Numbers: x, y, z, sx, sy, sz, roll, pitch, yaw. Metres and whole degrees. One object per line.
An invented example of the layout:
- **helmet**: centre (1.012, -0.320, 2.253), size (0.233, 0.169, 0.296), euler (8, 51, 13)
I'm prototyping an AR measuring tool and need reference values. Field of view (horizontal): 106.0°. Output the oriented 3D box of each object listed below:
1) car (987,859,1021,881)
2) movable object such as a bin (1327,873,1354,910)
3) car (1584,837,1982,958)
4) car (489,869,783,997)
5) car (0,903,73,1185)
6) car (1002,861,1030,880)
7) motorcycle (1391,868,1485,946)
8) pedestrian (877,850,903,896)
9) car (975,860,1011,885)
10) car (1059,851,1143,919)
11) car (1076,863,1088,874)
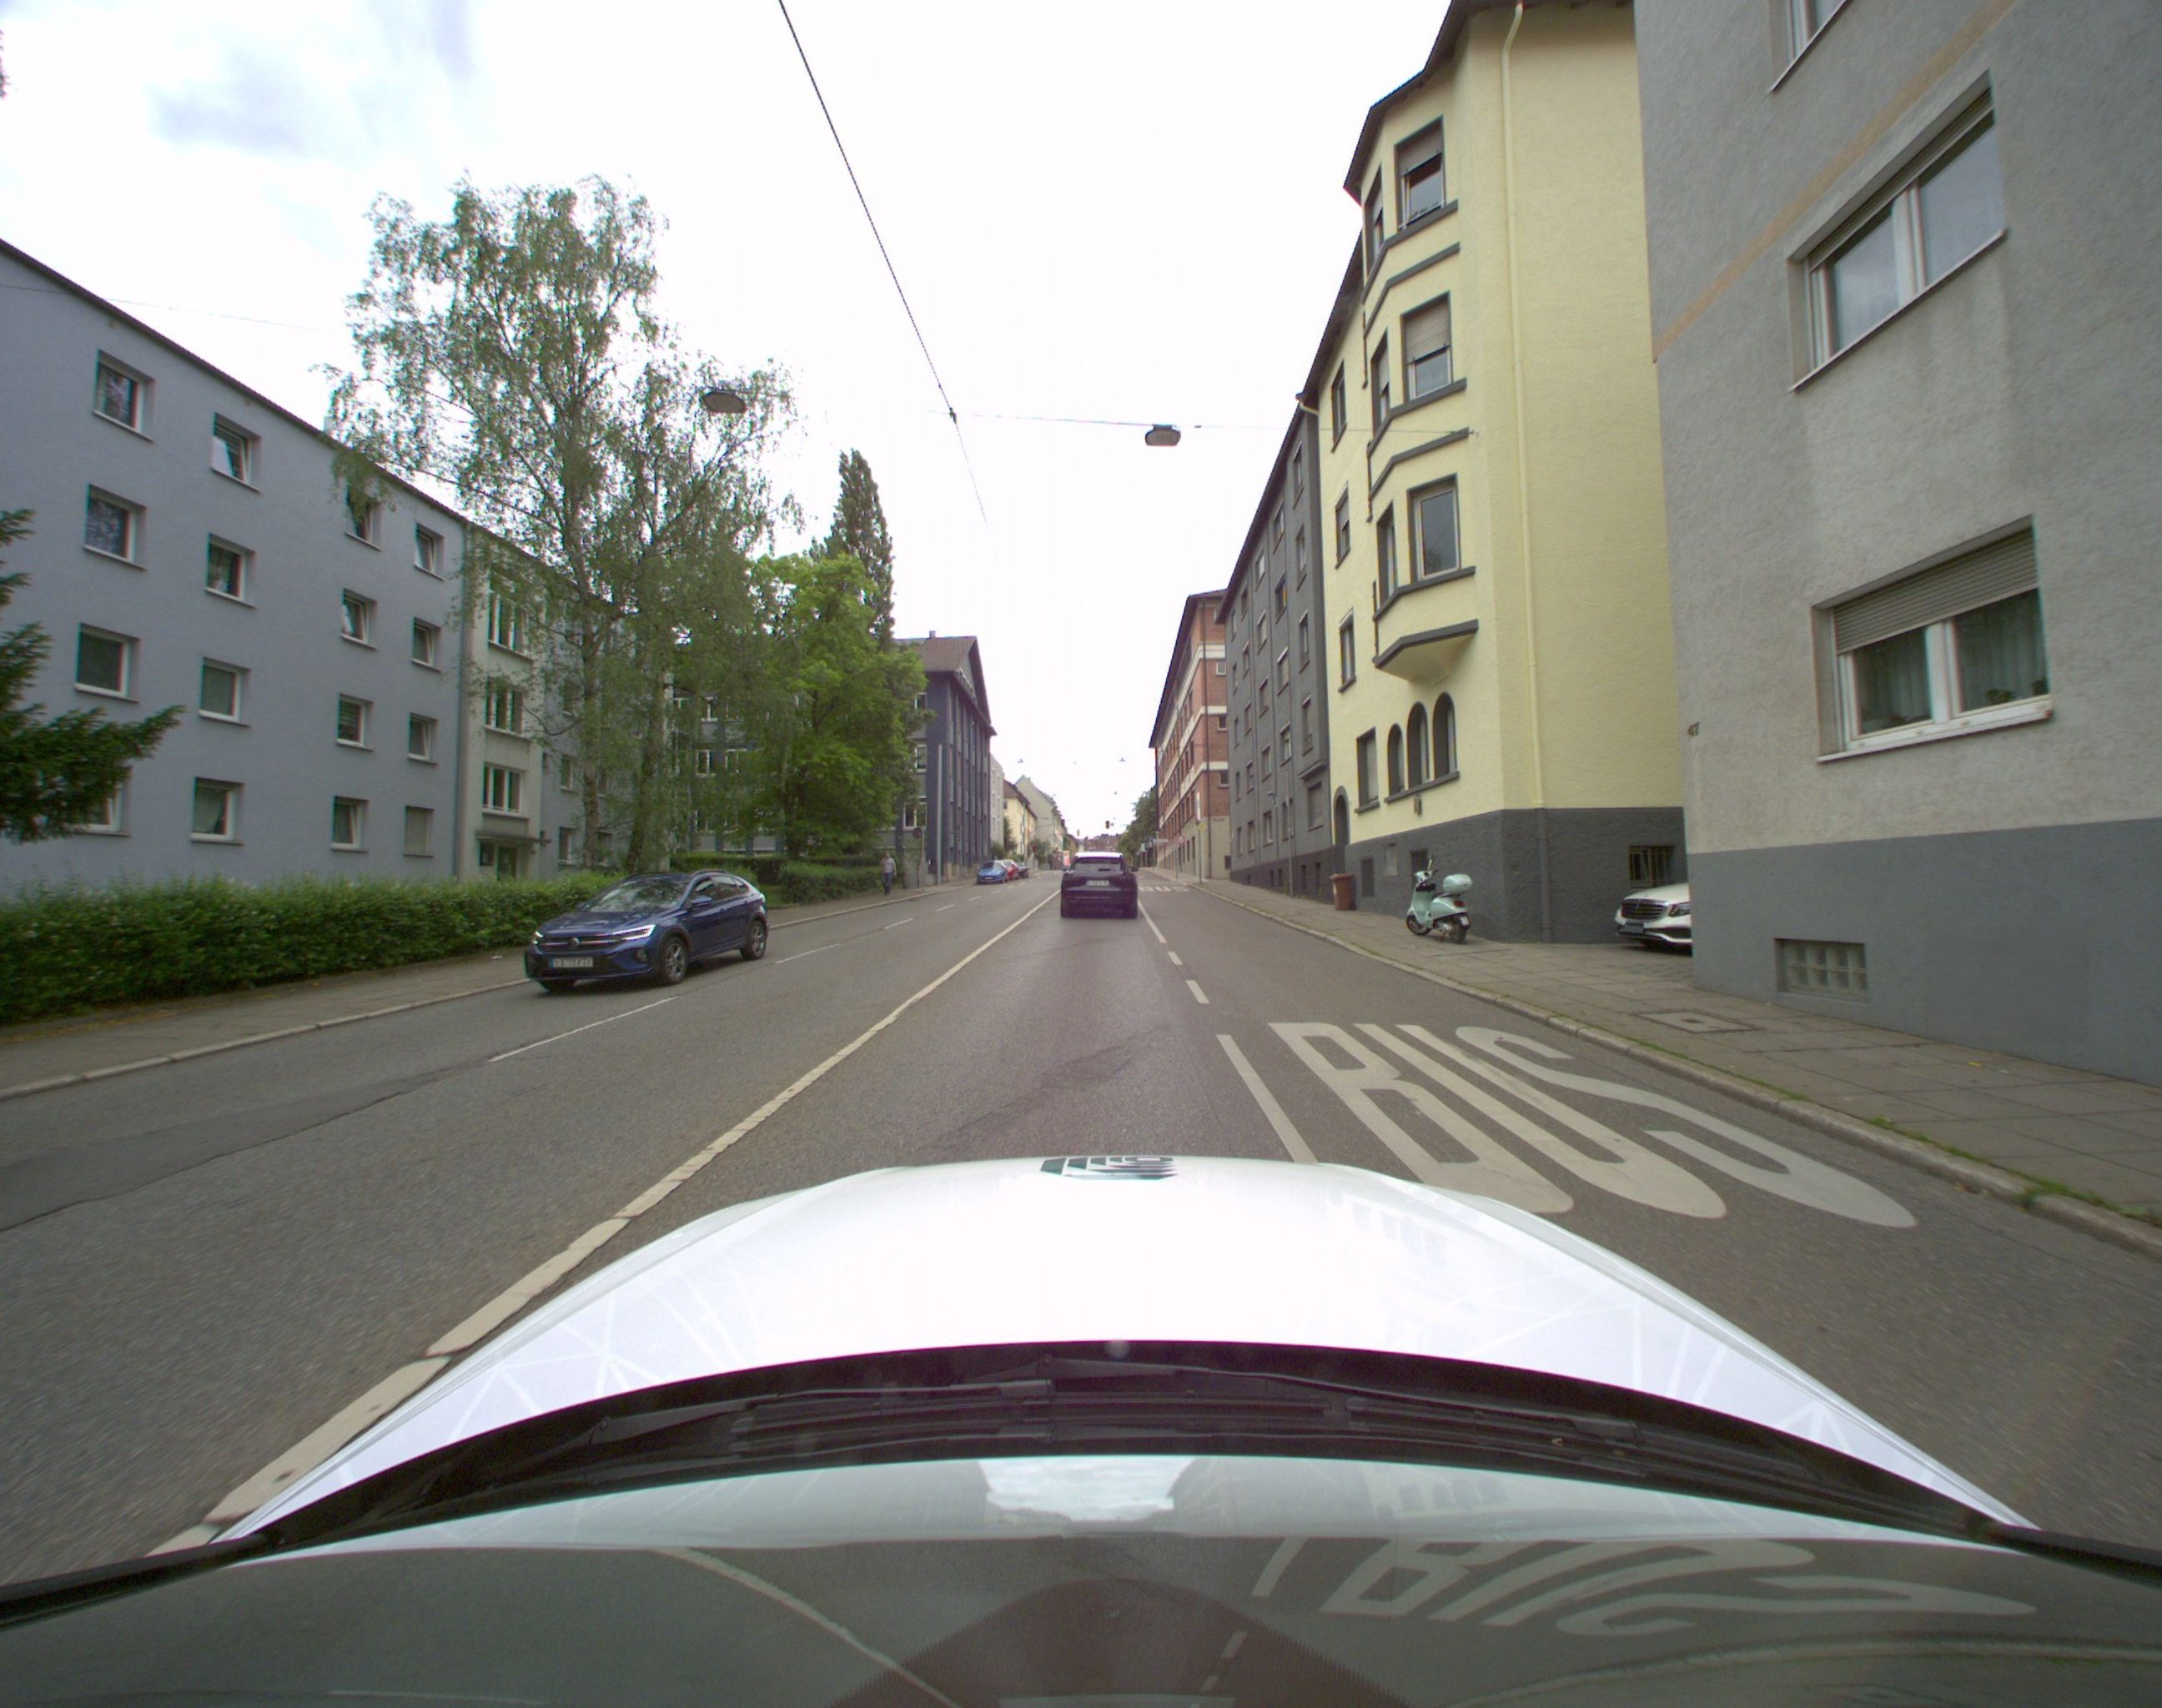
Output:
- **car**: centre (-5.438, 1.121, 57.965), size (1.707, 1.456, 3.992), euler (-3, -1, 3)
- **movable object such as a bin**: centre (6.609, 0.945, 20.734), size (0.473, 0.892, 0.517), euler (-4, -1, 1)
- **car**: centre (9.766, 0.574, 11.608), size (3.972, 1.423, 1.886), euler (-2, 0, 2)
- **car**: centre (-6.244, 1.007, 12.130), size (1.832, 1.448, 4.313), euler (-3, -1, 2)
- **car**: centre (-6.625, 1.021, 2.393), size (1.832, 1.448, 4.313), euler (-3, -1, 2)
- **car**: centre (-5.060, 1.286, 63.988), size (1.708, 1.341, 3.905), euler (-3, -1, 2)
- **motorcycle**: centre (6.019, 0.852, 13.873), size (0.536, 1.156, 2.225), euler (-4, 0, -1)
- **pedestrian**: centre (-8.299, 0.800, 35.408), size (0.879, 1.950, 0.868), euler (1, 0, 1)
- **car**: centre (-5.631, 1.177, 52.403), size (1.708, 1.424, 3.991), euler (-3, 0, 2)
- **car**: centre (0.435, 0.780, 22.136), size (2.019, 1.641, 4.352), euler (1, -1, -2)
- **car**: centre (0.221, 2.612, 146.756), size (1.889, 1.691, 4.004), euler (-3, -1, 3)
